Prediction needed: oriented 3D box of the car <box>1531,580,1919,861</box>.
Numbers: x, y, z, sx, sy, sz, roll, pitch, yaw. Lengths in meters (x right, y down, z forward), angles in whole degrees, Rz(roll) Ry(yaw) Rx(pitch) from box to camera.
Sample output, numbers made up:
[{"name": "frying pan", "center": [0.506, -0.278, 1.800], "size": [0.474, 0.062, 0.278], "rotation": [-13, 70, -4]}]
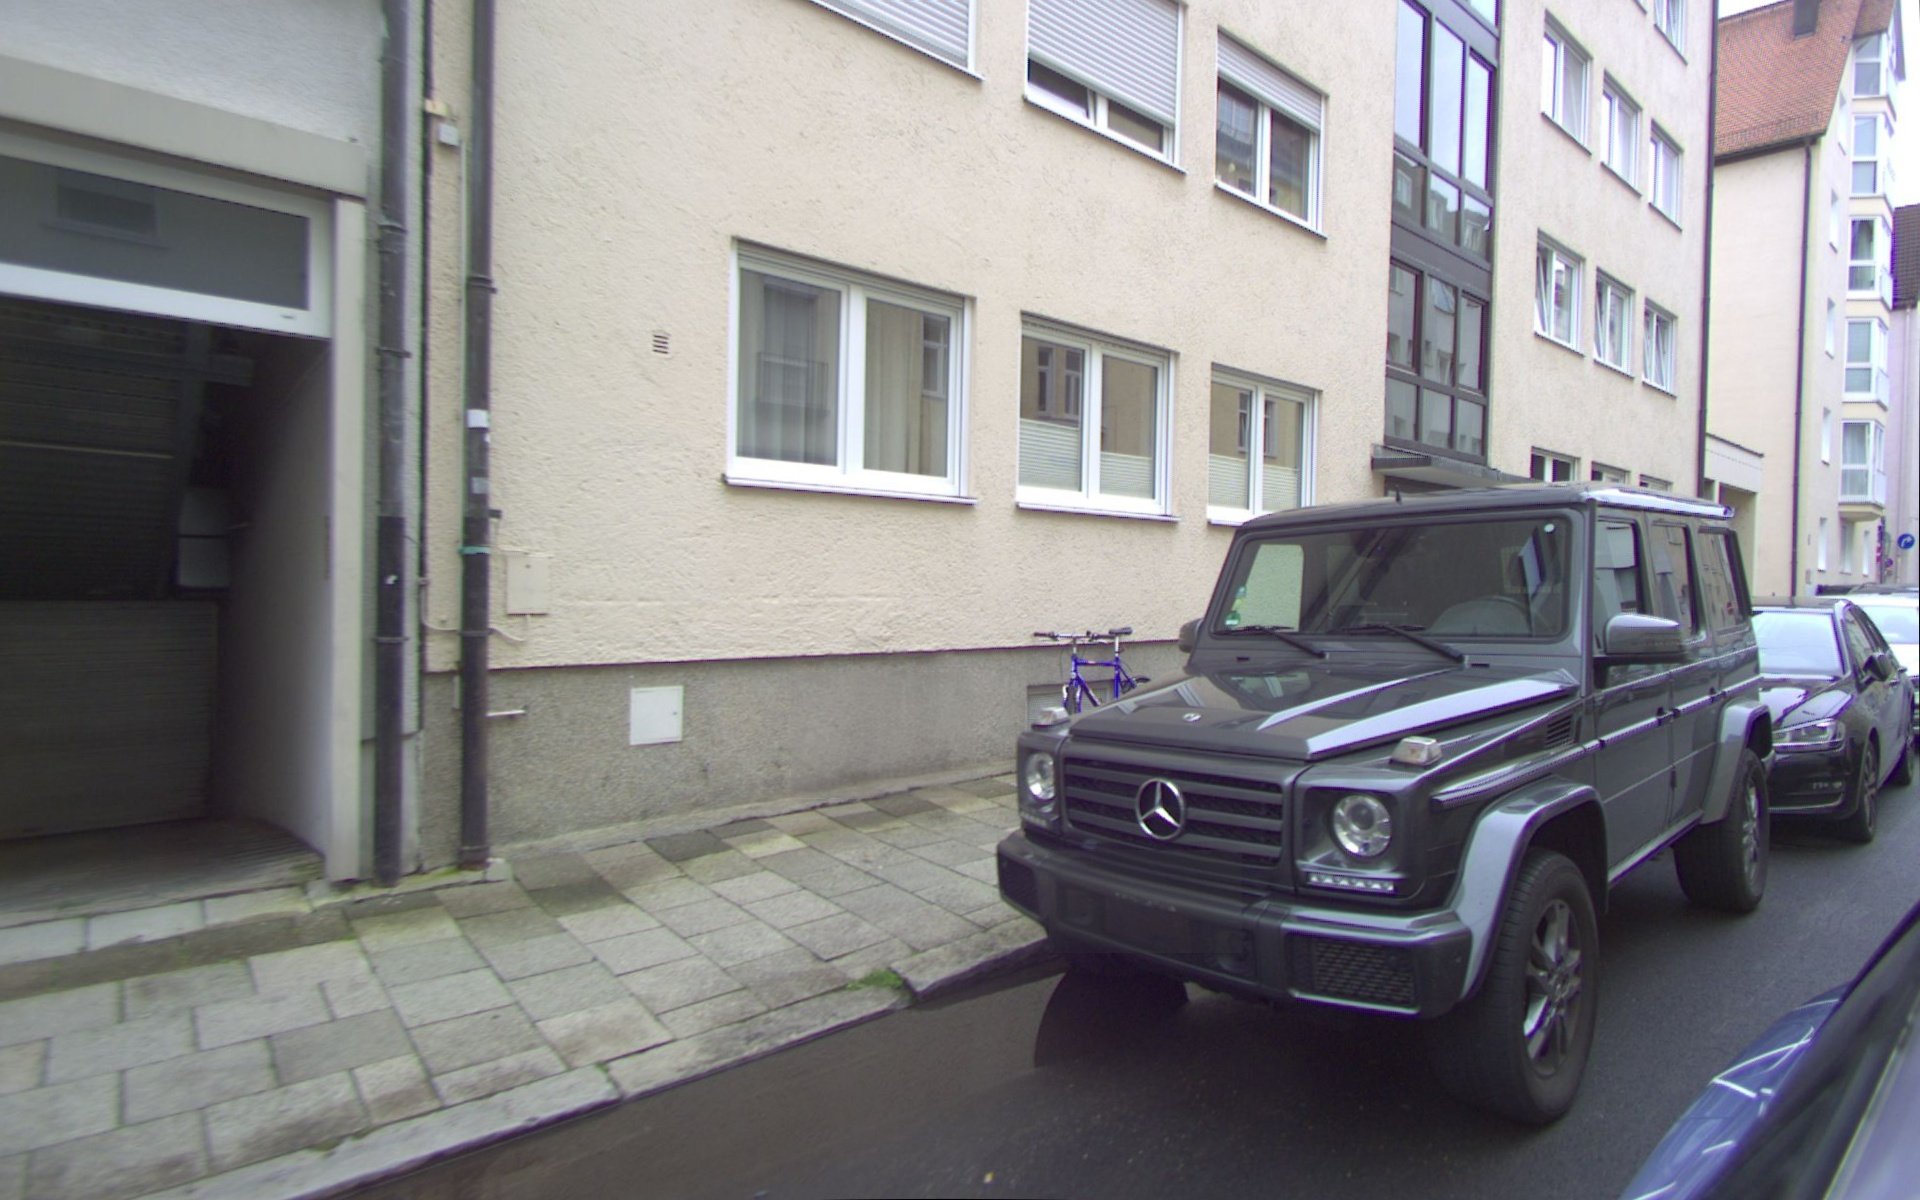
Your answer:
[{"name": "car", "center": [5.893, 0.609, 7.482], "size": [4.172, 1.504, 1.714], "rotation": [-1, 1, -42]}]

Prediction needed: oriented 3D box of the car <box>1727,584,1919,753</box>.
[{"name": "car", "center": [9.793, 0.587, 10.921], "size": [4.172, 1.504, 1.714], "rotation": [-1, 1, -42]}]

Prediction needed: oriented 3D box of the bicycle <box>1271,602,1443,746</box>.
[{"name": "bicycle", "center": [3.647, 0.620, 9.237], "size": [1.729, 1.119, 0.656], "rotation": [-1, 6, -41]}]

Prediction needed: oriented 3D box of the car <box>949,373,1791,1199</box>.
[{"name": "car", "center": [2.116, 0.485, 4.435], "size": [4.269, 2.001, 1.753], "rotation": [0, -1, -42]}]

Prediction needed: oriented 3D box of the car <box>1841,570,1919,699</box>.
[{"name": "car", "center": [13.677, 0.404, 14.131], "size": [4.174, 1.628, 1.713], "rotation": [-1, 1, -44]}]

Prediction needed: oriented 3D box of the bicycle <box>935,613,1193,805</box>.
[{"name": "bicycle", "center": [0.739, 0.658, 6.804], "size": [1.765, 1.041, 0.646], "rotation": [-1, 6, -41]}]

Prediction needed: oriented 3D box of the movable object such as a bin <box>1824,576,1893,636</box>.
[{"name": "movable object such as a bin", "center": [22.846, 0.130, 25.734], "size": [1.559, 1.440, 1.034], "rotation": [-1, 4, -40]}]
